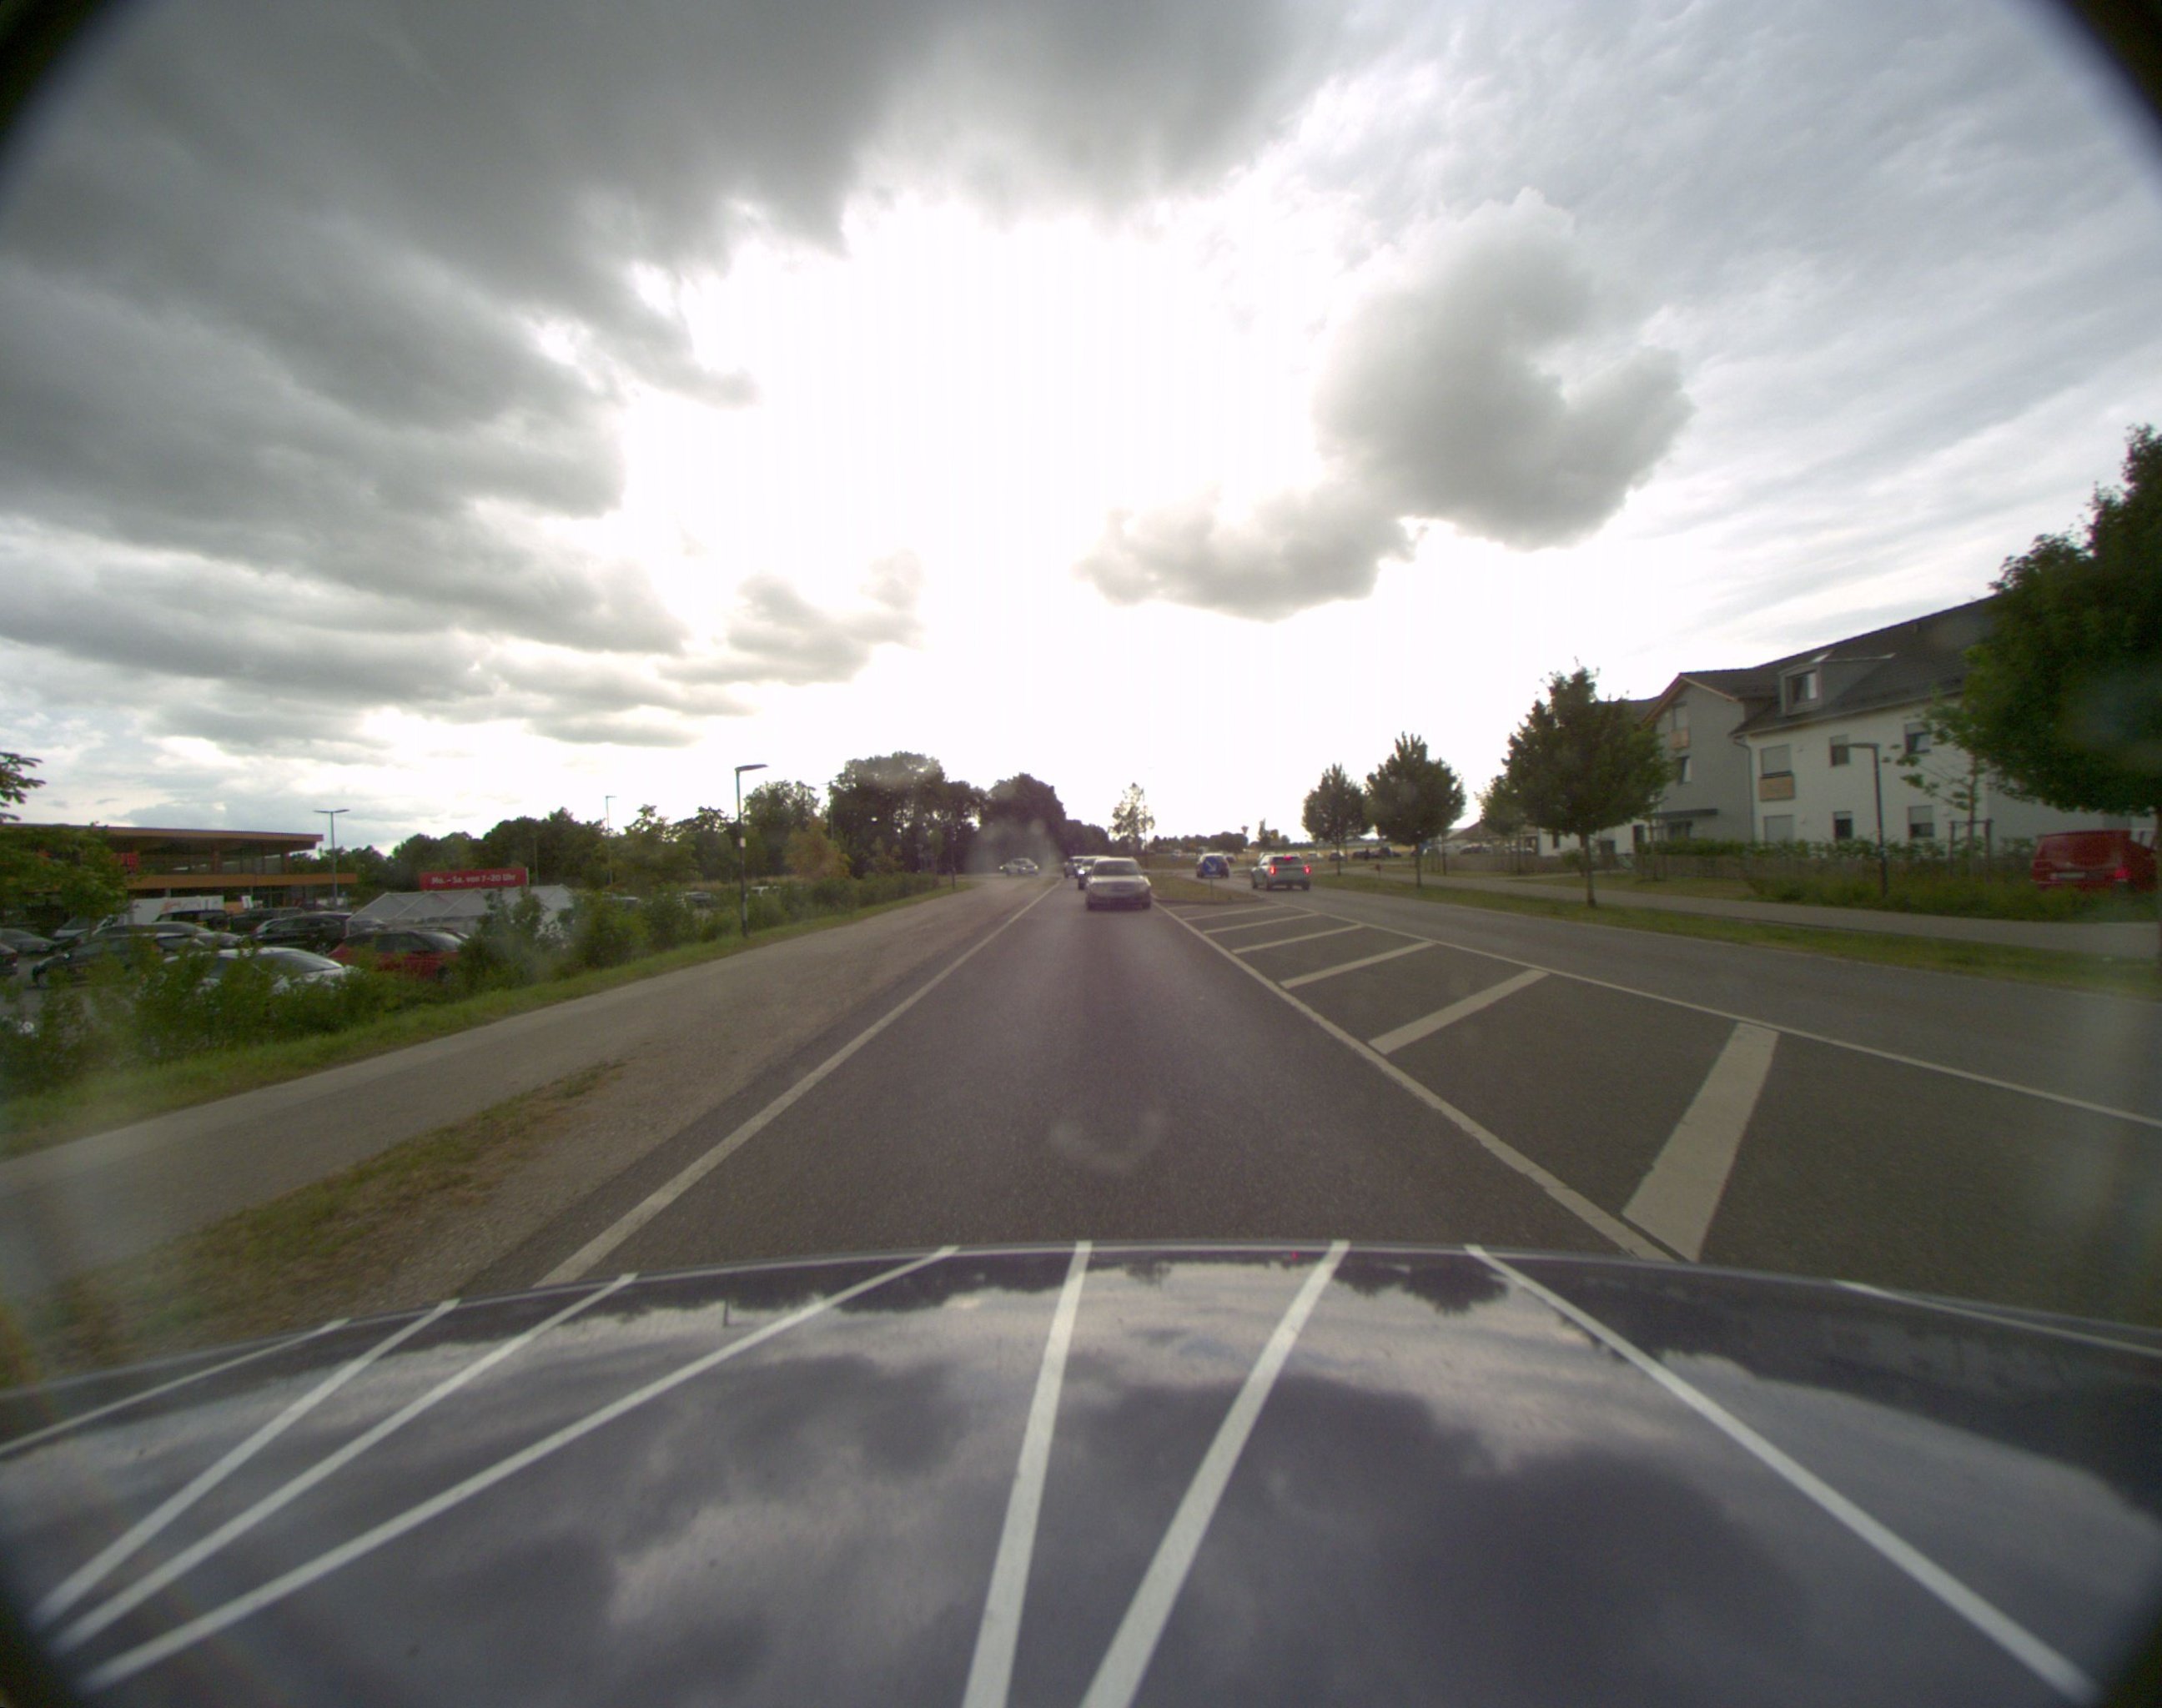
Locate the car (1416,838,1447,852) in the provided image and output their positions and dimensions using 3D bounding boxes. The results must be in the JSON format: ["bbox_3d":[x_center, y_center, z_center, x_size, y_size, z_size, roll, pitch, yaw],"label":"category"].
[{"bbox_3d":[54.106,-1.379,117.372,4.001,2.002,1.998,-1,0,-11],"label":"car"}]

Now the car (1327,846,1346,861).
[{"bbox_3d":[35.491,-0.129,105.564,1.995,2.002,4.007,-1,0,26],"label":"car"}]

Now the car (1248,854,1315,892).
[{"bbox_3d":[8.192,0.733,31.405,1.774,1.435,4.000,-1,0,1],"label":"car"}]

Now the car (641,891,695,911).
[{"bbox_3d":[-31.700,3.561,58.287,3.989,1.352,1.848,-1,0,32],"label":"car"}]

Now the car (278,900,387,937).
[{"bbox_3d":[-41.297,3.553,41.973,4.269,1.860,2.001,-1,0,5],"label":"car"}]

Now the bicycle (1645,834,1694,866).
[{"bbox_3d":[27.103,-0.168,35.037,0.684,1.409,2.094,-1,0,1],"label":"bicycle"}]

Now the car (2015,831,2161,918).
[{"bbox_3d":[24.112,0.394,16.493,4.915,1.805,1.907,-1,0,6],"label":"car"}]

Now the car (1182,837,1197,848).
[{"bbox_3d":[16.191,-1.685,113.438,1.774,1.435,4.000,-1,0,1],"label":"car"}]

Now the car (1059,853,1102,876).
[{"bbox_3d":[-0.085,0.821,58.847,2.002,1.674,3.993,-1,0,-21],"label":"car"}]

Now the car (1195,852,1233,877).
[{"bbox_3d":[8.675,0.654,49.770,1.830,1.573,4.216,-1,0,1],"label":"car"}]

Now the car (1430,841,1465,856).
[{"bbox_3d":[53.011,-0.816,109.926,4.000,2.002,1.999,-1,0,-8],"label":"car"}]

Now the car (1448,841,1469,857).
[{"bbox_3d":[49.600,-0.659,99.842,2.226,2.002,4.007,-1,0,29],"label":"car"}]

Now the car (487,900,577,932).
[{"bbox_3d":[-29.596,3.308,41.022,3.558,1.524,1.753,-1,0,0],"label":"car"}]

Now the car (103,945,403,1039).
[{"bbox_3d":[-16.561,2.736,15.355,4.157,1.529,1.676,-1,0,-1],"label":"car"}]

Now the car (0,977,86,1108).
[{"bbox_3d":[-16.293,2.585,9.769,4.157,1.588,2.080,-1,0,-1],"label":"car"}]

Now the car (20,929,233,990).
[{"bbox_3d":[-29.451,3.226,23.545,3.997,1.433,2.000,-3,0,0],"label":"car"}]

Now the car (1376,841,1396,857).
[{"bbox_3d":[40.986,-0.667,102.128,1.996,2.002,4.005,-1,0,16],"label":"car"}]

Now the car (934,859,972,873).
[{"bbox_3d":[-14.633,1.361,86.667,4.004,1.412,1.713,-1,0,-21],"label":"car"}]

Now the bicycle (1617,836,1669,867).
[{"bbox_3d":[26.090,-0.112,35.311,0.684,1.404,2.344,-1,0,1],"label":"bicycle"}]

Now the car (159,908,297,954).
[{"bbox_3d":[-38.609,3.482,34.450,4.269,1.860,2.001,-1,0,5],"label":"car"}]

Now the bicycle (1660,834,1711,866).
[{"bbox_3d":[27.844,-0.189,35.051,0.684,1.420,2.094,-1,0,1],"label":"bicycle"}]

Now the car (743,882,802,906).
[{"bbox_3d":[-24.884,3.209,61.453,1.697,1.707,4.251,-1,0,28],"label":"car"}]

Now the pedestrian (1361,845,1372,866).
[{"bbox_3d":[22.009,0.110,58.557,0.547,1.521,0.586,-4,0,1],"label":"pedestrian"}]

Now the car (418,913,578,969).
[{"bbox_3d":[-18.521,2.740,24.246,3.766,1.529,1.676,-1,0,-1],"label":"car"}]

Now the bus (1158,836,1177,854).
[{"bbox_3d":[15.940,-1.652,141.098,2.991,3.261,6.486,-1,0,2],"label":"bus"}]

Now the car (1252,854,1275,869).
[{"bbox_3d":[18.770,0.778,78.324,1.829,1.480,4.218,-1,0,7],"label":"car"}]

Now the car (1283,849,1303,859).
[{"bbox_3d":[30.179,-0.030,108.070,1.995,1.280,4.007,-1,0,26],"label":"car"}]

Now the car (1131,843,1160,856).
[{"bbox_3d":[8.725,-0.615,102.810,1.994,1.674,4.008,-1,0,38],"label":"car"}]

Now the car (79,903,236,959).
[{"bbox_3d":[-36.292,3.003,29.919,3.995,2.002,2.001,-1,0,5],"label":"car"}]

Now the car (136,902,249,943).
[{"bbox_3d":[-48.173,3.688,41.253,3.995,2.002,2.001,-1,0,5],"label":"car"}]

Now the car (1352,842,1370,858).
[{"bbox_3d":[38.222,-0.536,103.703,1.995,2.002,4.007,-1,0,26],"label":"car"}]

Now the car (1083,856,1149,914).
[{"bbox_3d":[1.074,0.835,22.134,1.700,1.457,4.001,-2,1,4],"label":"car"}]

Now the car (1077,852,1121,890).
[{"bbox_3d":[0.920,0.742,36.099,1.869,1.578,5.063,-3,0,3],"label":"car"}]

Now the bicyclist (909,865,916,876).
[{"bbox_3d":[-20.403,2.000,91.848,0.657,1.236,0.556,-1,0,41],"label":"bicyclist"}]

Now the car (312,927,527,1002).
[{"bbox_3d":[-16.159,2.681,18.702,3.766,1.529,1.676,-1,0,-1],"label":"car"}]

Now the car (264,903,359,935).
[{"bbox_3d":[-48.179,4.053,47.632,3.995,1.837,2.072,-1,0,5],"label":"car"}]

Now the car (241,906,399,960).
[{"bbox_3d":[-29.378,3.025,29.419,4.269,1.860,2.001,-1,0,5],"label":"car"}]

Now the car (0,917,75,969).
[{"bbox_3d":[-46.533,3.827,32.727,3.995,2.002,2.001,-1,0,5],"label":"car"}]

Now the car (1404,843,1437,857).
[{"bbox_3d":[50.456,-0.546,112.884,4.001,2.002,1.998,-1,0,-11],"label":"car"}]

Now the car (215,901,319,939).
[{"bbox_3d":[-47.337,3.846,44.248,3.995,2.002,2.072,-1,0,5],"label":"car"}]

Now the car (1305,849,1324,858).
[{"bbox_3d":[32.814,-0.080,106.554,1.995,1.280,4.007,-1,0,26],"label":"car"}]

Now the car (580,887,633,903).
[{"bbox_3d":[-46.146,3.950,73.921,1.697,1.352,4.007,-1,0,28],"label":"car"}]

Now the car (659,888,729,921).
[{"bbox_3d":[-24.508,3.181,48.219,3.390,1.696,1.802,-4,0,0],"label":"car"}]

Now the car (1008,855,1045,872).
[{"bbox_3d":[-5.068,0.860,70.125,2.003,1.510,3.763,-1,0,-27],"label":"car"}]

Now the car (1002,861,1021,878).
[{"bbox_3d":[-7.836,1.725,85.067,2.000,1.827,3.998,-1,0,-6],"label":"car"}]

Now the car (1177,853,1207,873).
[{"bbox_3d":[8.691,0.667,59.766,1.830,1.480,4.350,-1,0,1],"label":"car"}]

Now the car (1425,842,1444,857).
[{"bbox_3d":[47.504,-0.615,102.000,1.995,2.002,4.007,-1,0,29],"label":"car"}]
